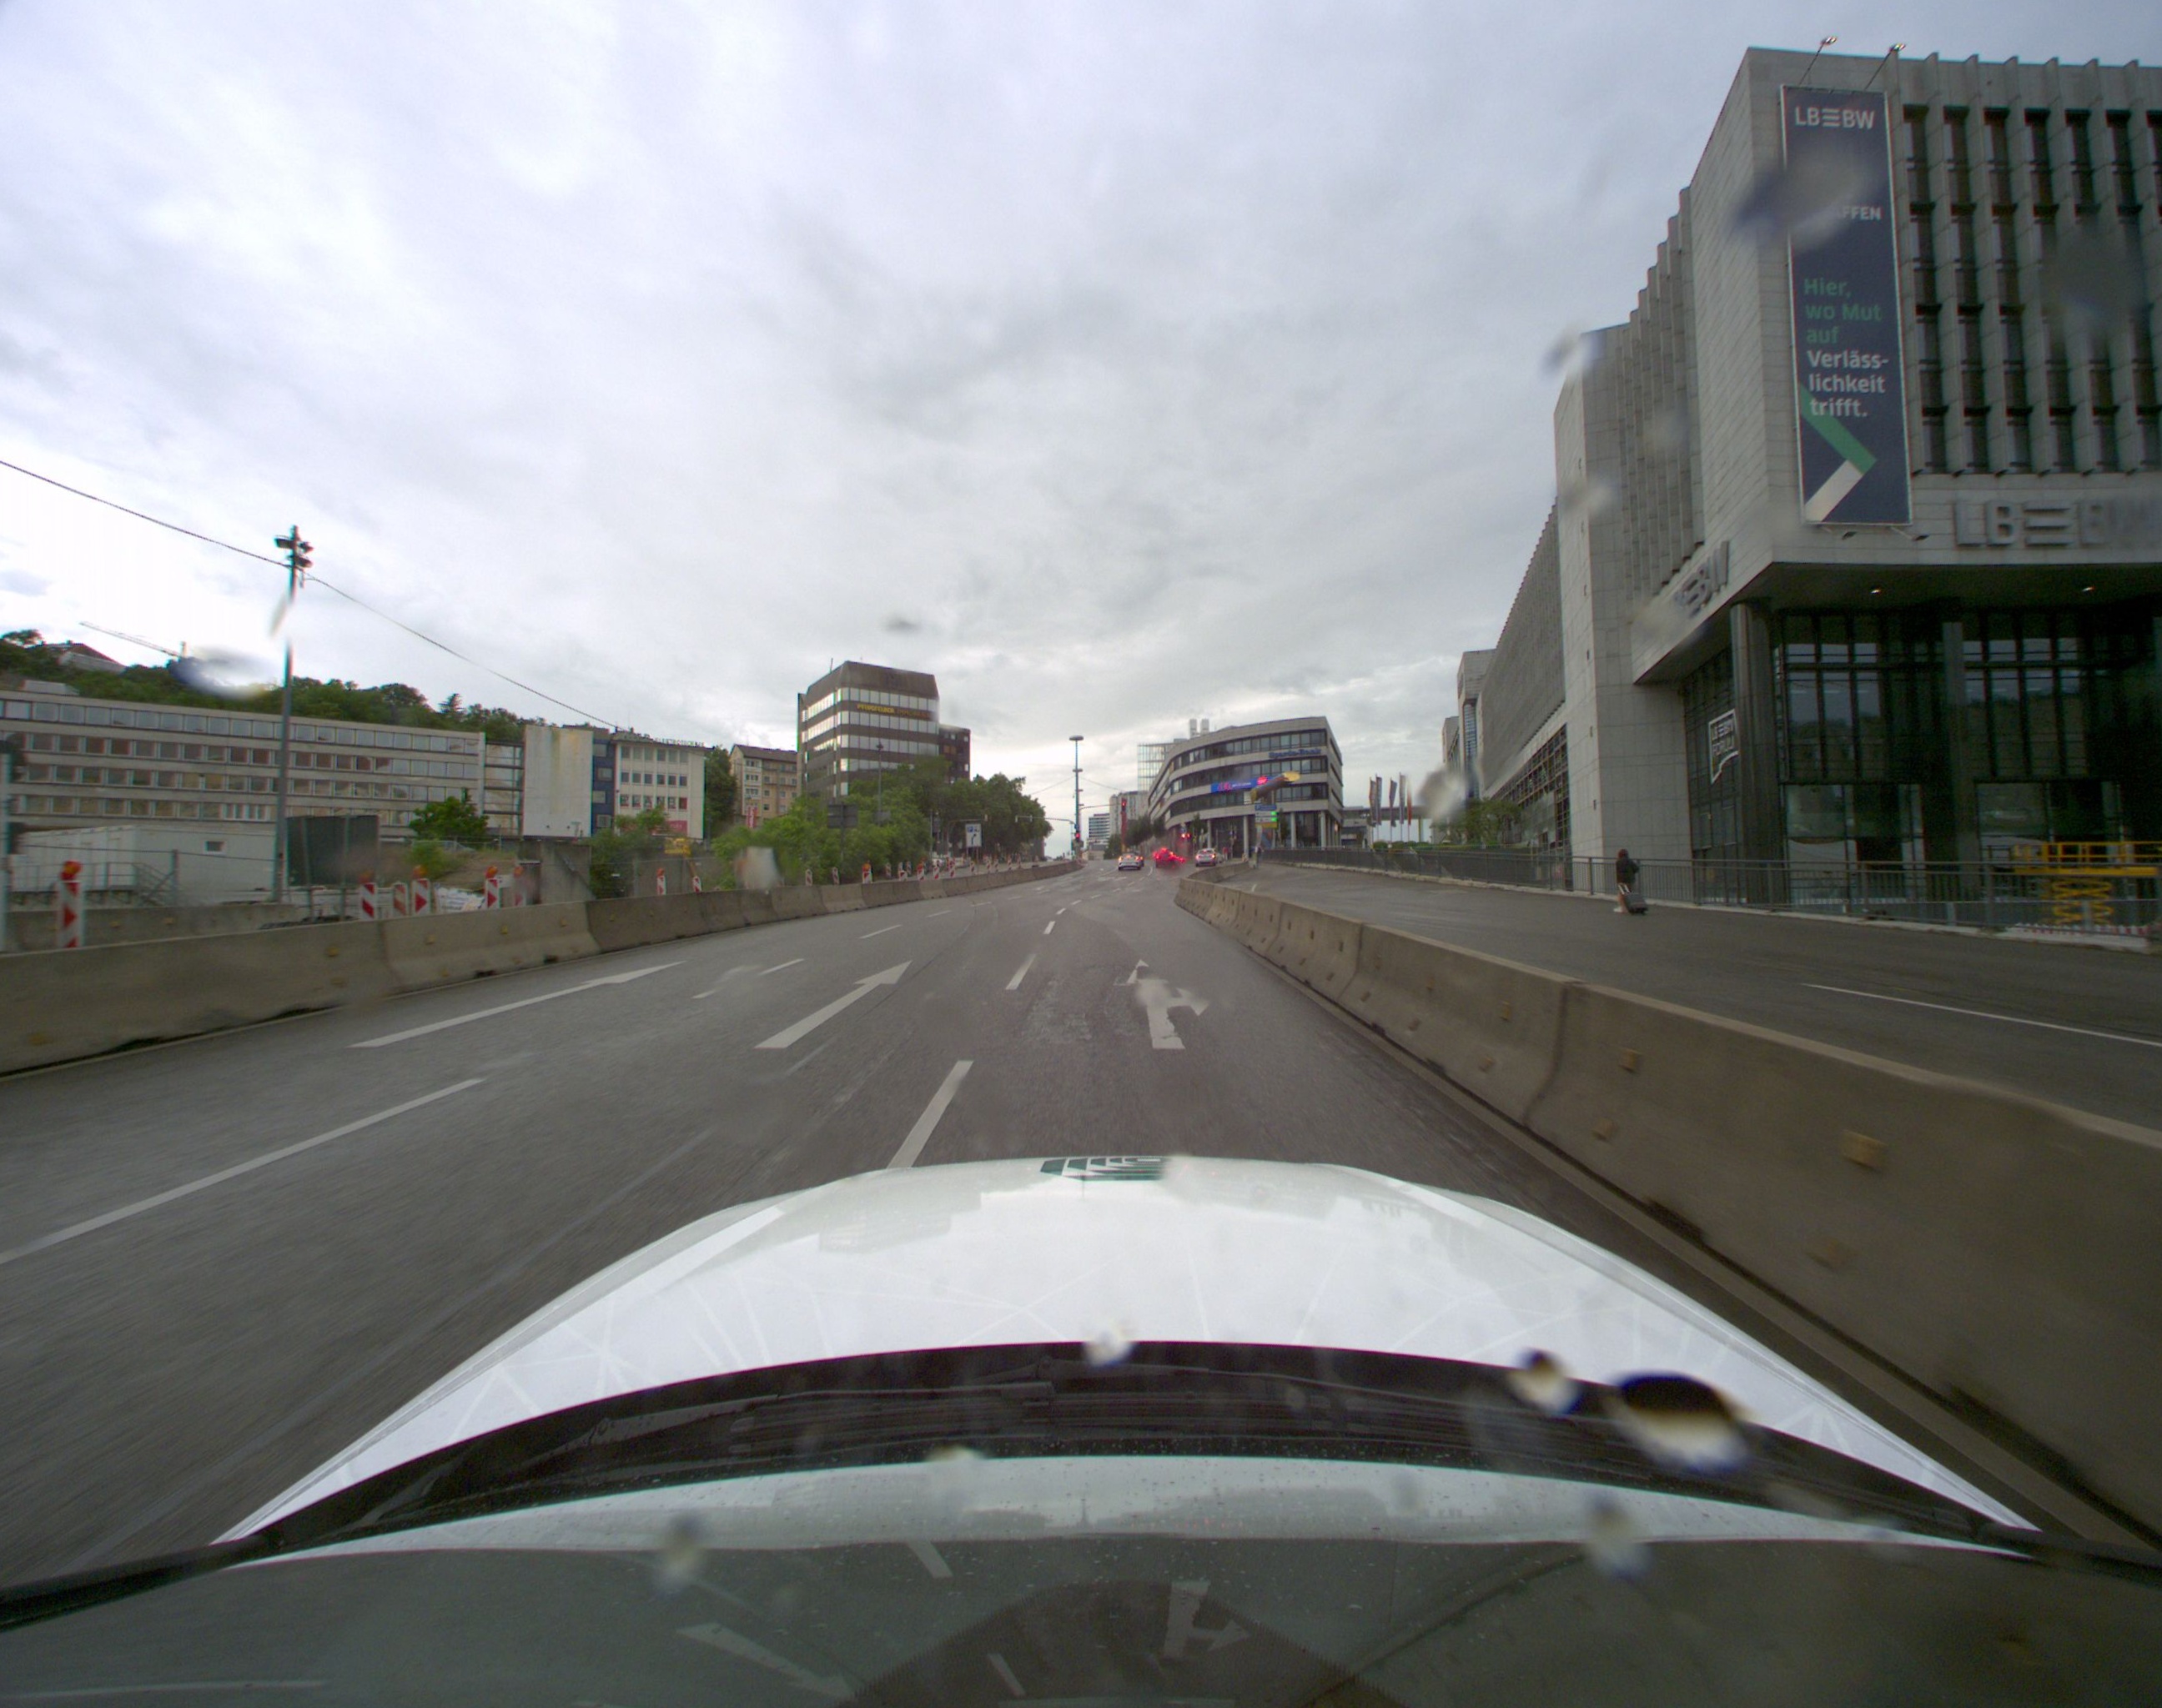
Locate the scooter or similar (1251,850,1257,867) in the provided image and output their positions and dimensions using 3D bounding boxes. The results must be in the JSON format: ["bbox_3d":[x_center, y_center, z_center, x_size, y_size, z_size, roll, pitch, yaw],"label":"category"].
[{"bbox_3d":[11.904,0.283,56.029,0.346,1.162,0.575,-1,-1,16],"label":"scooter or similar"}]

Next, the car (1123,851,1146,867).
[{"bbox_3d":[4.997,0.416,76.447,1.735,1.443,3.997,-1,0,-2],"label":"car"}]

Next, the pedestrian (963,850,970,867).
[{"bbox_3d":[-13.497,0.519,96.309,0.669,1.902,0.776,-1,-2,3],"label":"pedestrian"}]

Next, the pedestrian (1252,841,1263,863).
[{"bbox_3d":[14.287,-0.159,66.008,0.727,1.711,0.843,-1,-2,0],"label":"pedestrian"}]

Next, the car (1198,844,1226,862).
[{"bbox_3d":[12.655,-0.096,78.453,1.756,1.634,4.605,-1,0,21],"label":"car"}]

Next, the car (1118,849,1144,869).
[{"bbox_3d":[4.158,0.421,67.736,1.954,1.548,4.226,-1,0,6],"label":"car"}]

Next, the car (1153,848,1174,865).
[{"bbox_3d":[7.284,0.242,72.210,1.747,1.407,4.232,1,-1,4],"label":"car"}]

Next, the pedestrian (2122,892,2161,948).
[{"bbox_3d":[31.956,1.969,24.419,0.697,1.616,0.569,-2,-3,34],"label":"pedestrian"}]

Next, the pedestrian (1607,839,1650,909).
[{"bbox_3d":[13.339,0.492,19.870,0.722,1.652,1.067,-2,-1,29],"label":"pedestrian"}]

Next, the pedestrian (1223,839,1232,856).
[{"bbox_3d":[16.886,-0.749,93.736,0.832,1.905,0.866,-2,-2,27],"label":"pedestrian"}]

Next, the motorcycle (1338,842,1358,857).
[{"bbox_3d":[26.651,-0.453,81.232,1.722,1.354,0.605,-2,0,-7],"label":"motorcycle"}]

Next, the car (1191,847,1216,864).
[{"bbox_3d":[10.769,0.178,71.767,1.693,1.451,4.619,0,-1,3],"label":"car"}]

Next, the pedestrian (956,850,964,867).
[{"bbox_3d":[-14.294,0.525,96.368,0.758,1.923,0.743,-1,-2,3],"label":"pedestrian"}]

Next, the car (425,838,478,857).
[{"bbox_3d":[-62.114,-0.605,80.413,4.017,1.706,1.978,1,-3,-36],"label":"car"}]

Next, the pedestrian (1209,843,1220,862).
[{"bbox_3d":[14.998,-0.163,91.677,0.855,2.098,0.898,1,0,-22],"label":"pedestrian"}]

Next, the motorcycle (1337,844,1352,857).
[{"bbox_3d":[26.510,-0.388,81.955,1.239,1.270,0.618,-2,0,-7],"label":"motorcycle"}]
